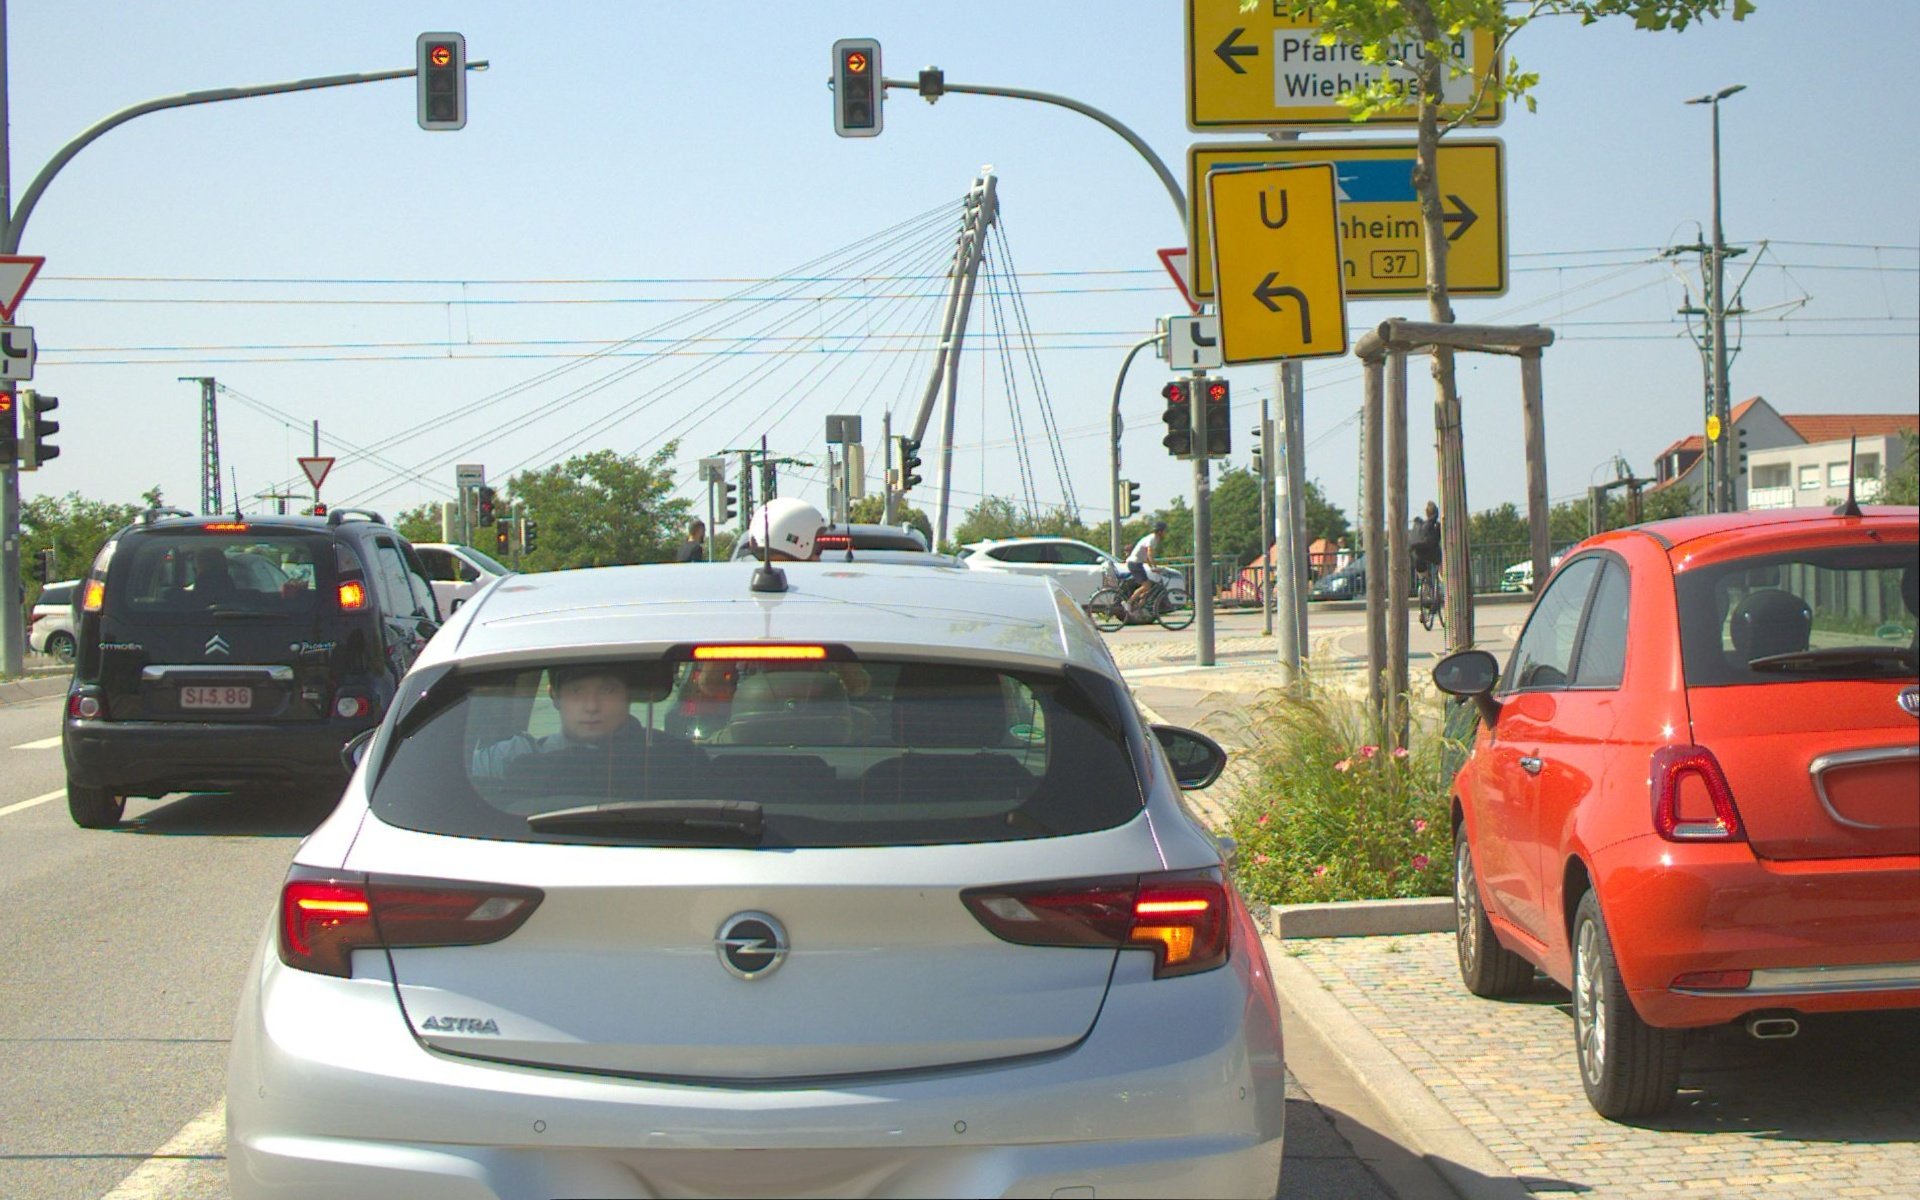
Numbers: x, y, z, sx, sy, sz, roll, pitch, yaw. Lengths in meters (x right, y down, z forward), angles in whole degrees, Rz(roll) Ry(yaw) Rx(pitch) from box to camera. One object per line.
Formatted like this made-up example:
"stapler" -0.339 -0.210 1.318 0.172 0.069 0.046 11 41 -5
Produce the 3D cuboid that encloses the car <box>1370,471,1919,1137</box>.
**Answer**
"car" 2.331 0.447 10.027 1.669 1.534 3.917 -2 0 -1

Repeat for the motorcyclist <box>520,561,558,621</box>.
"motorcyclist" -10.457 -0.215 85.372 0.809 1.471 0.885 1 0 -1

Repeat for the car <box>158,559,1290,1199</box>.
"car" -0.399 0.675 7.292 1.690 1.514 4.271 0 1 -1

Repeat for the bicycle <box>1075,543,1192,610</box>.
"bicycle" 2.884 -0.390 57.141 1.866 1.064 0.578 1 0 -4

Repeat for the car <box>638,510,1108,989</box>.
"car" -0.353 0.529 14.102 1.634 1.668 3.745 1 0 -1

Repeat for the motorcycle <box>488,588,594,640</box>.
"motorcycle" -10.400 0.351 85.338 2.536 1.229 0.648 1 0 -1

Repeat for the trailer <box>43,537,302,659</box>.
"trailer" -13.638 -0.034 59.684 3.987 2.007 2.000 1 0 1

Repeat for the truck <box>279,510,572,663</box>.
"truck" -9.233 -0.231 59.603 4.693 2.532 2.000 1 0 1

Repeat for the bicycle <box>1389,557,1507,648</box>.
"bicycle" 6.481 0.038 45.557 0.555 1.174 2.083 1 1 39

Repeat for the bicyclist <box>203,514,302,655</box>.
"bicyclist" -7.983 -0.173 38.816 0.945 1.563 0.823 1 0 -2

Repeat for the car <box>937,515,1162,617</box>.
"car" 1.610 -0.617 62.840 4.033 1.808 1.932 0 0 0

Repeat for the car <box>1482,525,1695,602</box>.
"car" 14.098 -0.812 77.174 4.244 1.668 2.001 0 0 -18

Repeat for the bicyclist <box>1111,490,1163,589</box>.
"bicyclist" 2.941 -1.000 57.158 0.771 1.604 0.949 1 0 -2

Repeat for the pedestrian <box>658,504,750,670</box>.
"pedestrian" -2.904 -0.146 39.041 0.740 1.857 0.754 1 0 -33

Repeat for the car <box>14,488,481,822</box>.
"car" -3.780 0.264 18.883 1.803 1.616 3.917 -1 0 -1

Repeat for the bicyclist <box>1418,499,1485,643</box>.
"bicyclist" 6.515 -0.384 45.571 0.636 1.881 0.594 1 0 38

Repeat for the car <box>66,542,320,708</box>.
"car" -6.778 0.209 30.663 1.587 1.390 3.340 0 0 -1
